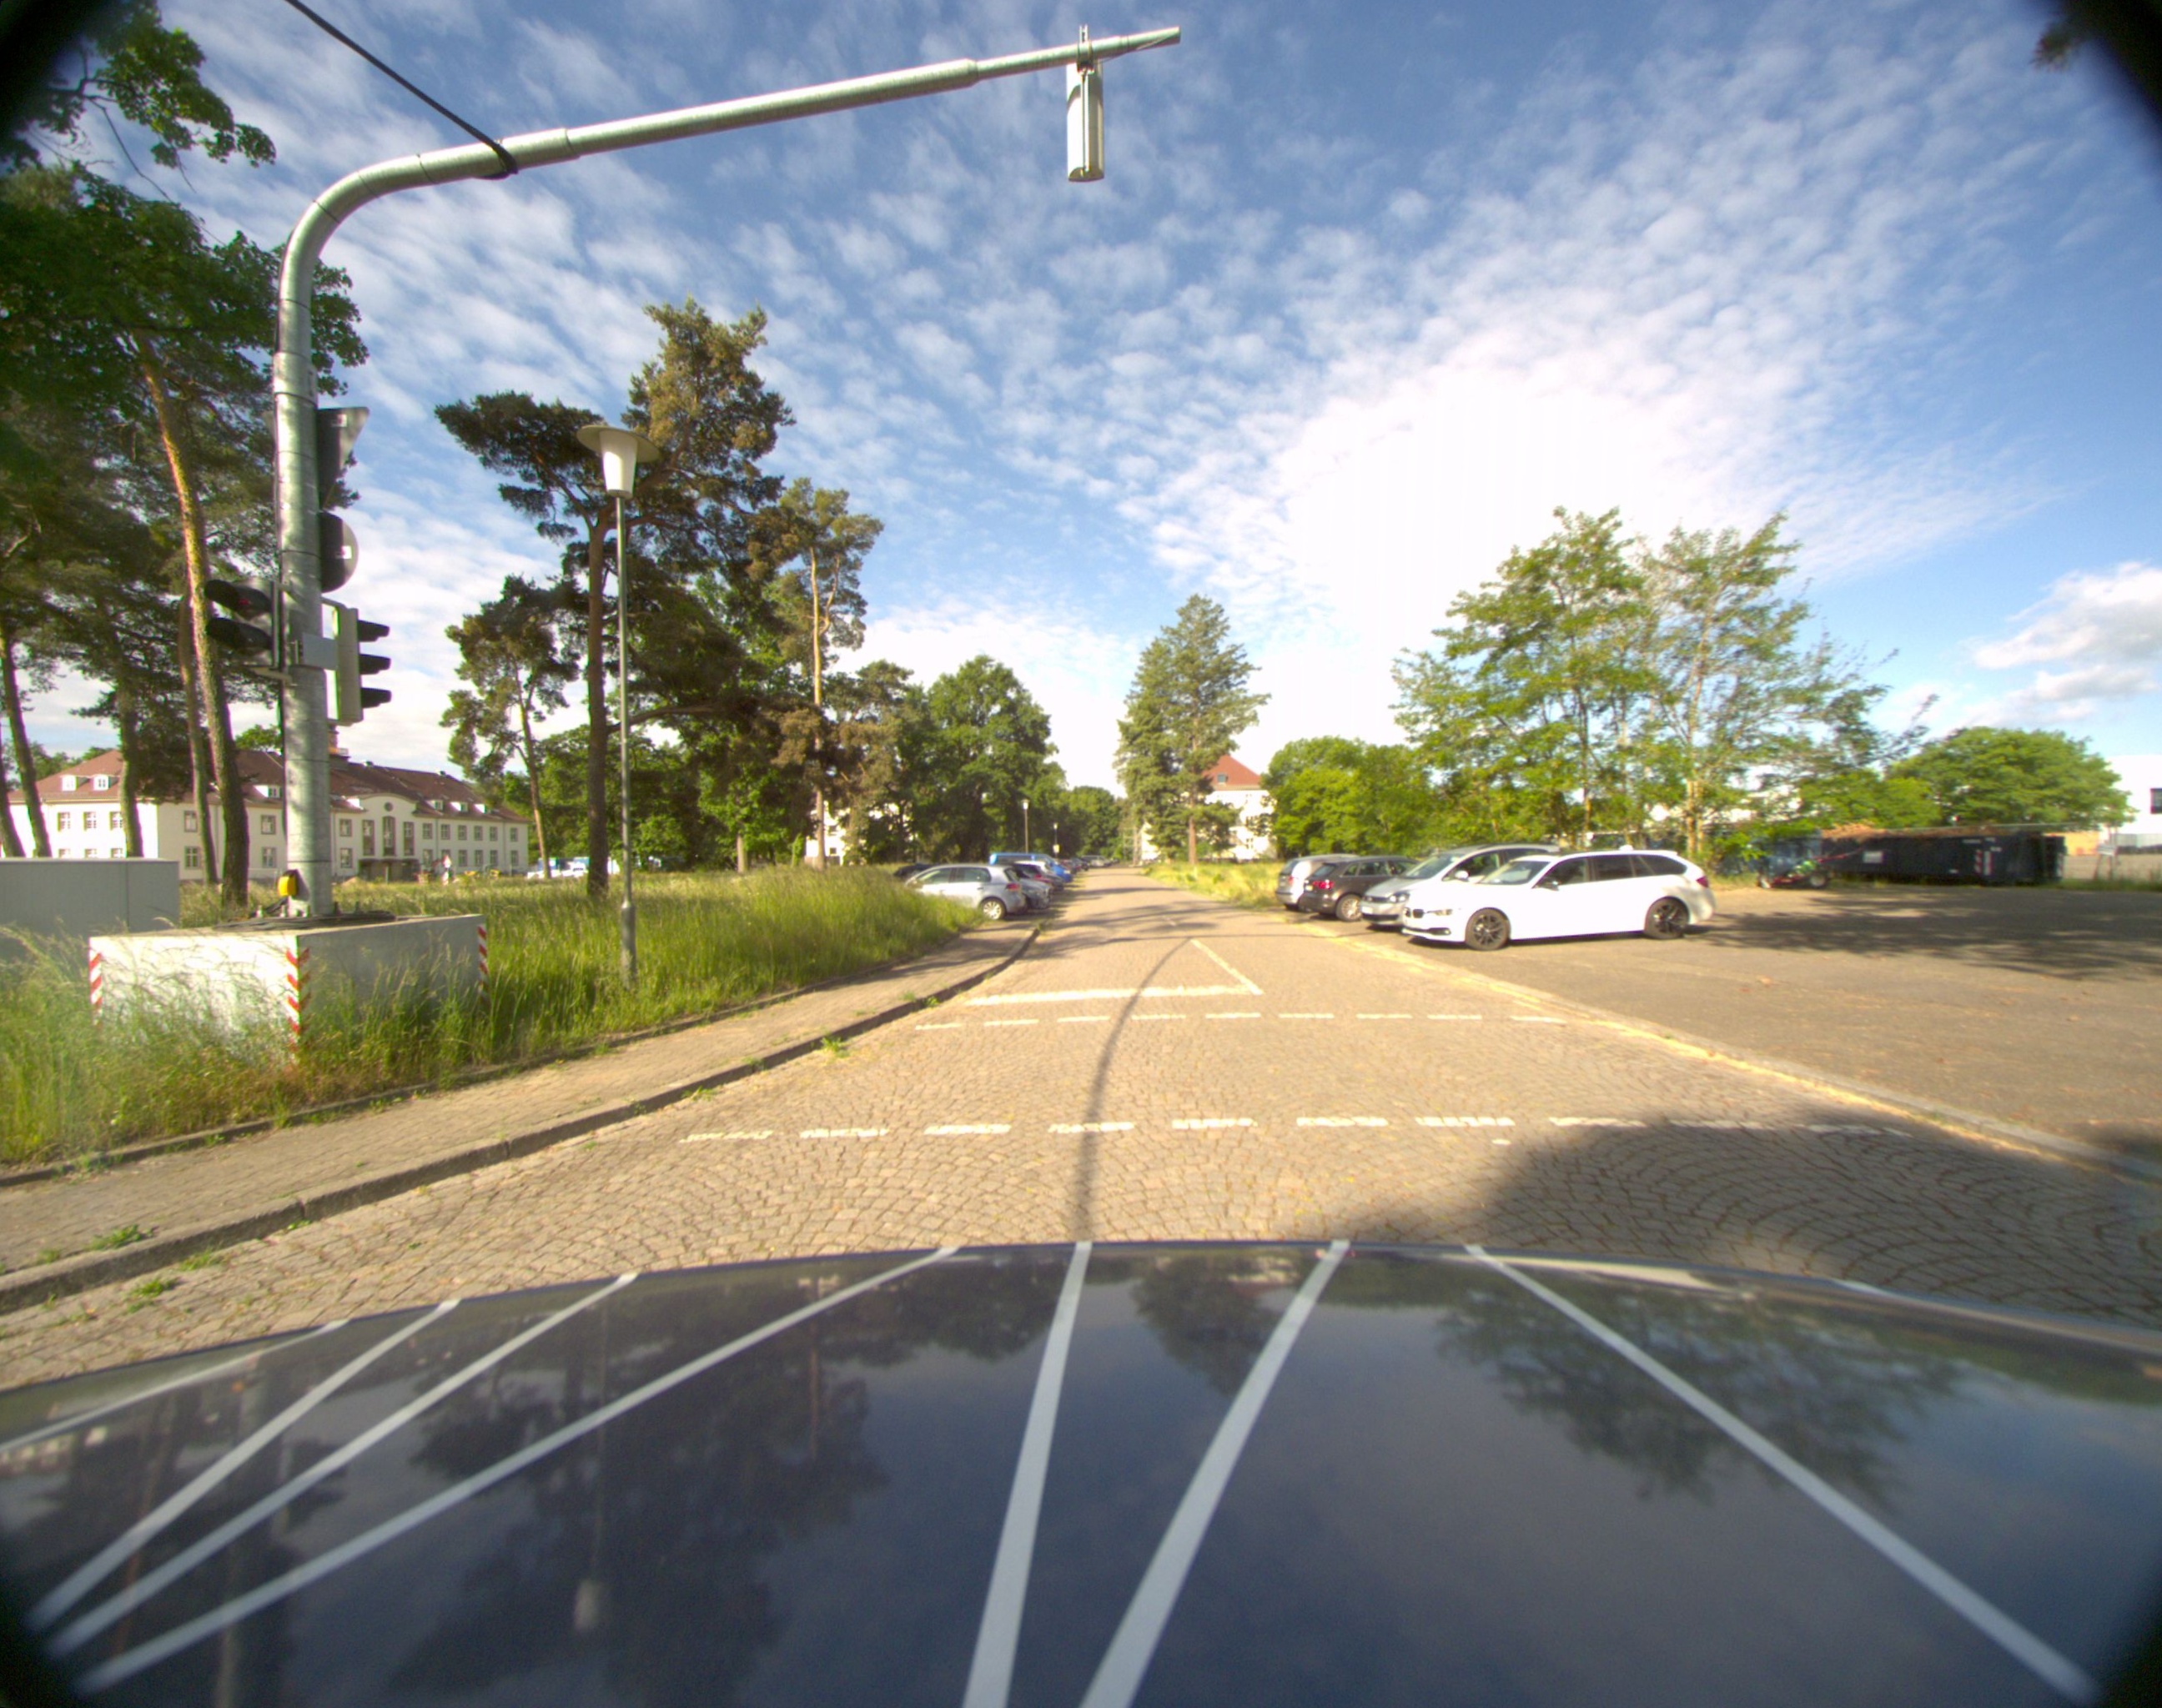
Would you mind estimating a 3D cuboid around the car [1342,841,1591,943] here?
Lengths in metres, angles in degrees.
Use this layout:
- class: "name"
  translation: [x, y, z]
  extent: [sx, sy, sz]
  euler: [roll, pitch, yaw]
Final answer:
- class: "car"
  translation: [7.443, 0.698, 14.917]
  extent: [3.954, 1.616, 1.721]
  euler: [-4, 0, -3]

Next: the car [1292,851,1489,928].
- class: "car"
  translation: [7.079, 0.779, 17.625]
  extent: [3.806, 1.462, 1.688]
  euler: [-4, 0, 1]

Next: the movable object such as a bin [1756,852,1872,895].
- class: "movable object such as a bin"
  translation: [20.309, 0.527, 21.092]
  extent: [2.284, 1.101, 0.997]
  euler: [-1, 0, 0]

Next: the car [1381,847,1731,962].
- class: "car"
  translation: [7.527, 0.765, 12.347]
  extent: [4.553, 1.459, 1.752]
  euler: [-4, 0, -1]

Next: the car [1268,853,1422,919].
- class: "car"
  translation: [6.988, 0.827, 20.330]
  extent: [3.474, 1.462, 1.636]
  euler: [-4, 0, -1]

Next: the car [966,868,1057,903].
- class: "car"
  translation: [-2.670, 1.197, 29.560]
  extent: [3.356, 1.248, 1.420]
  euler: [-1, 0, 1]

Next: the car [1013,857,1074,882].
- class: "car"
  translation: [-2.546, 1.042, 52.371]
  extent: [3.995, 1.630, 1.757]
  euler: [-1, 0, 4]

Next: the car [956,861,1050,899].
- class: "car"
  translation: [-3.258, 1.095, 32.200]
  extent: [3.779, 1.482, 1.549]
  euler: [-1, 0, 1]

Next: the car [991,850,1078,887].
- class: "car"
  translation: [-2.584, 0.828, 43.429]
  extent: [4.726, 2.002, 2.000]
  euler: [-1, 0, 3]

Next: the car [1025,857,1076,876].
- class: "car"
  translation: [-2.506, 1.029, 62.734]
  extent: [3.995, 1.509, 1.757]
  euler: [-1, 0, 4]

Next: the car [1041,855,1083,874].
- class: "car"
  translation: [-1.937, 1.060, 77.288]
  extent: [3.995, 1.605, 1.757]
  euler: [-4, 1, 6]

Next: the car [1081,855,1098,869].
- class: "car"
  translation: [0.973, 0.895, 90.507]
  extent: [1.868, 1.576, 4.000]
  euler: [-1, 0, 0]

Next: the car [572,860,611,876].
- class: "car"
  translation: [-65.180, 1.857, 101.253]
  extent: [1.998, 2.002, 4.773]
  euler: [-1, 0, 3]

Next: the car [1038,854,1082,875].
- class: "car"
  translation: [-1.975, 0.994, 72.724]
  extent: [3.996, 1.731, 1.757]
  euler: [-3, 0, 4]

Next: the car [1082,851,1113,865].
- class: "car"
  translation: [2.782, 0.691, 126.268]
  extent: [5.067, 2.251, 2.000]
  euler: [-1, 0, 2]

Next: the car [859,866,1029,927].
- class: "car"
  translation: [-3.435, 1.056, 19.651]
  extent: [4.025, 1.452, 1.871]
  euler: [0, 0, 1]

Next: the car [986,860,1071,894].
- class: "car"
  translation: [-2.421, 1.059, 35.184]
  extent: [3.620, 1.482, 1.509]
  euler: [-1, 0, 11]

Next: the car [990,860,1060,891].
- class: "car"
  translation: [-2.781, 1.076, 38.051]
  extent: [3.264, 1.482, 1.449]
  euler: [-1, 0, 4]

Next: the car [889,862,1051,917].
- class: "car"
  translation: [-3.149, 1.009, 22.273]
  extent: [4.507, 1.508, 1.826]
  euler: [0, 0, -2]

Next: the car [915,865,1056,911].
- class: "car"
  translation: [-3.068, 1.094, 25.062]
  extent: [4.422, 1.394, 1.826]
  euler: [1, 0, 1]
